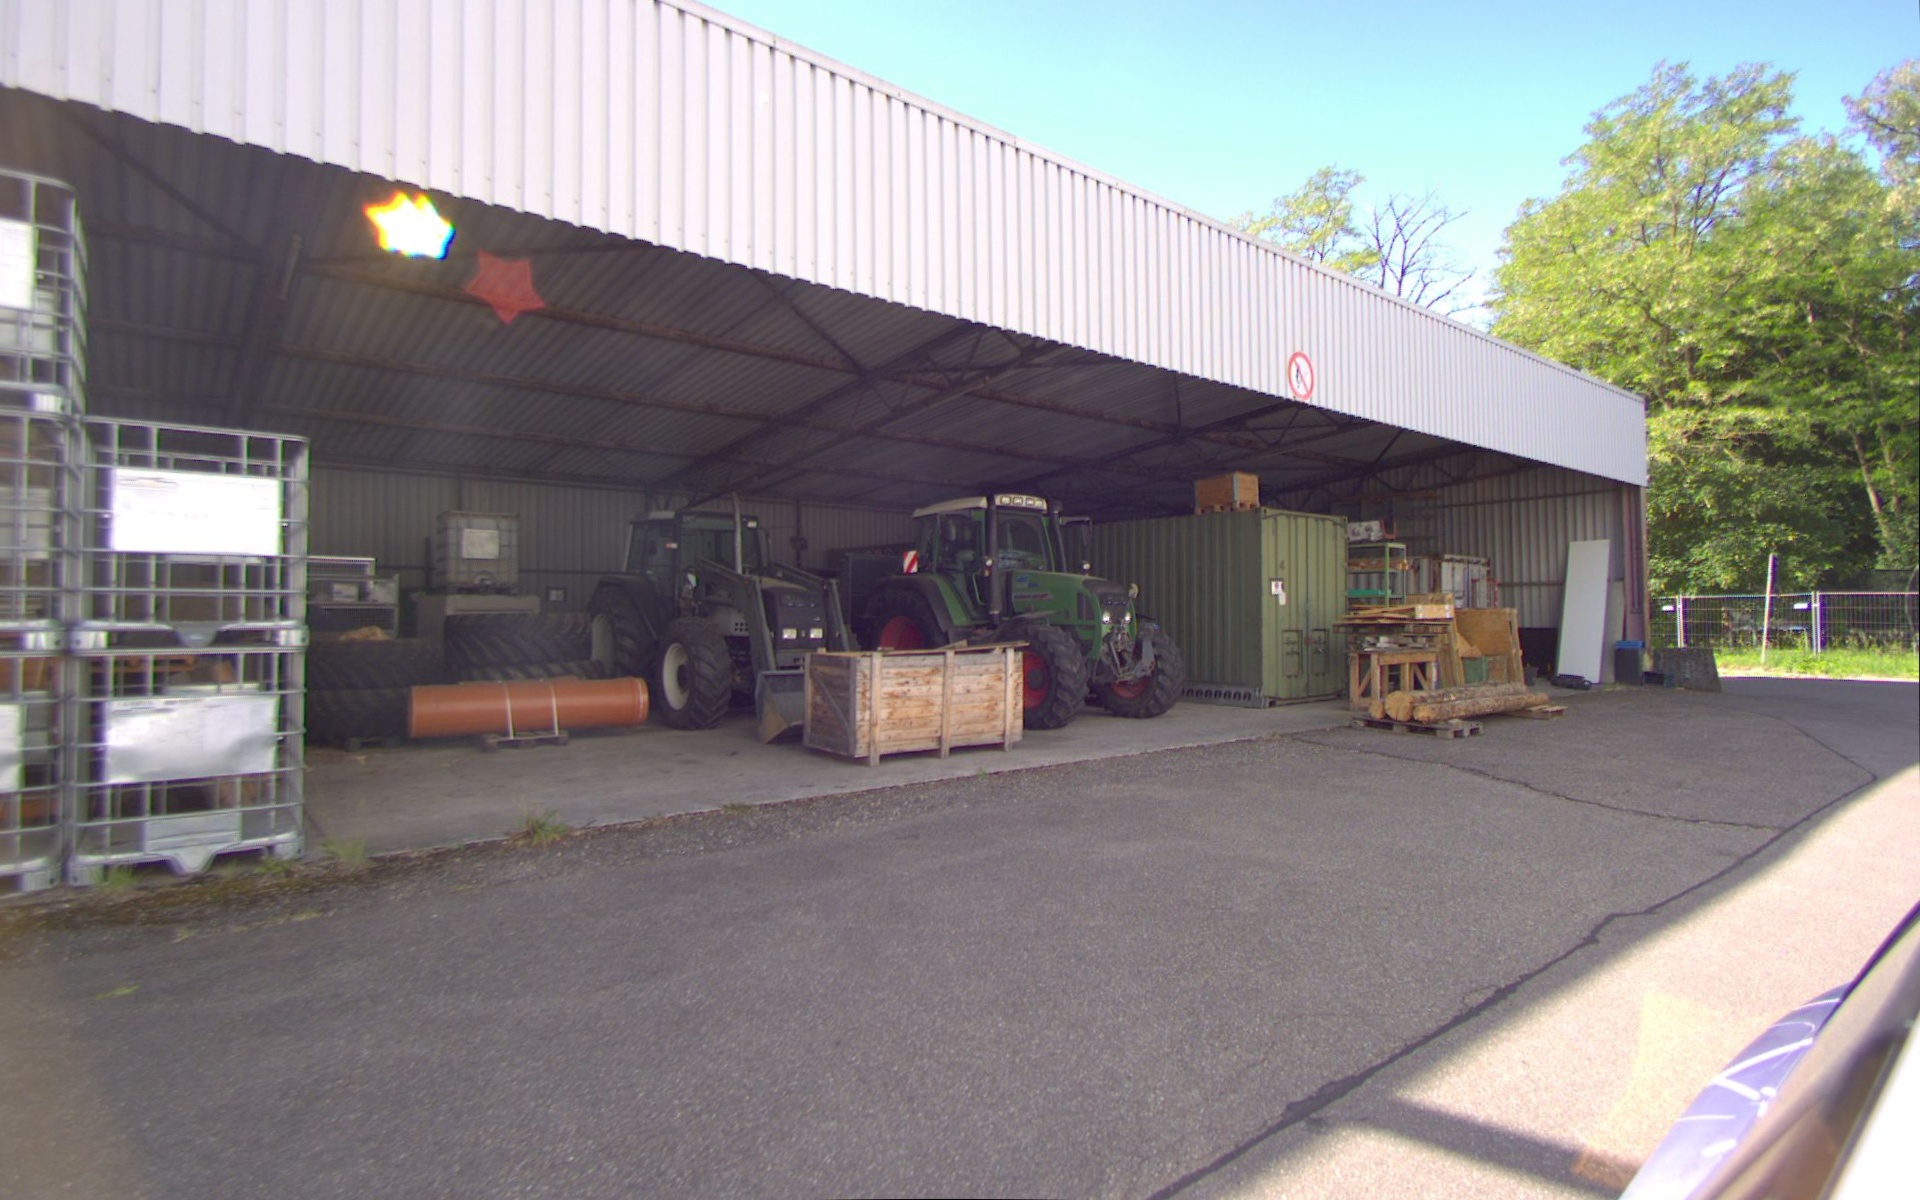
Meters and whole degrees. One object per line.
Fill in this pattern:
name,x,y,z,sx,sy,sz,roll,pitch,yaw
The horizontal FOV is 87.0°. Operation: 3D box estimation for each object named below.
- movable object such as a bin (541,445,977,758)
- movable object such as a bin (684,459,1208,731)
movable object such as a bin,-2.889,0.089,12.889,2.961,2.948,6.199,1,-2,-38
movable object such as a bin,-0.911,0.060,15.607,3.153,2.948,9.212,1,-2,-38
